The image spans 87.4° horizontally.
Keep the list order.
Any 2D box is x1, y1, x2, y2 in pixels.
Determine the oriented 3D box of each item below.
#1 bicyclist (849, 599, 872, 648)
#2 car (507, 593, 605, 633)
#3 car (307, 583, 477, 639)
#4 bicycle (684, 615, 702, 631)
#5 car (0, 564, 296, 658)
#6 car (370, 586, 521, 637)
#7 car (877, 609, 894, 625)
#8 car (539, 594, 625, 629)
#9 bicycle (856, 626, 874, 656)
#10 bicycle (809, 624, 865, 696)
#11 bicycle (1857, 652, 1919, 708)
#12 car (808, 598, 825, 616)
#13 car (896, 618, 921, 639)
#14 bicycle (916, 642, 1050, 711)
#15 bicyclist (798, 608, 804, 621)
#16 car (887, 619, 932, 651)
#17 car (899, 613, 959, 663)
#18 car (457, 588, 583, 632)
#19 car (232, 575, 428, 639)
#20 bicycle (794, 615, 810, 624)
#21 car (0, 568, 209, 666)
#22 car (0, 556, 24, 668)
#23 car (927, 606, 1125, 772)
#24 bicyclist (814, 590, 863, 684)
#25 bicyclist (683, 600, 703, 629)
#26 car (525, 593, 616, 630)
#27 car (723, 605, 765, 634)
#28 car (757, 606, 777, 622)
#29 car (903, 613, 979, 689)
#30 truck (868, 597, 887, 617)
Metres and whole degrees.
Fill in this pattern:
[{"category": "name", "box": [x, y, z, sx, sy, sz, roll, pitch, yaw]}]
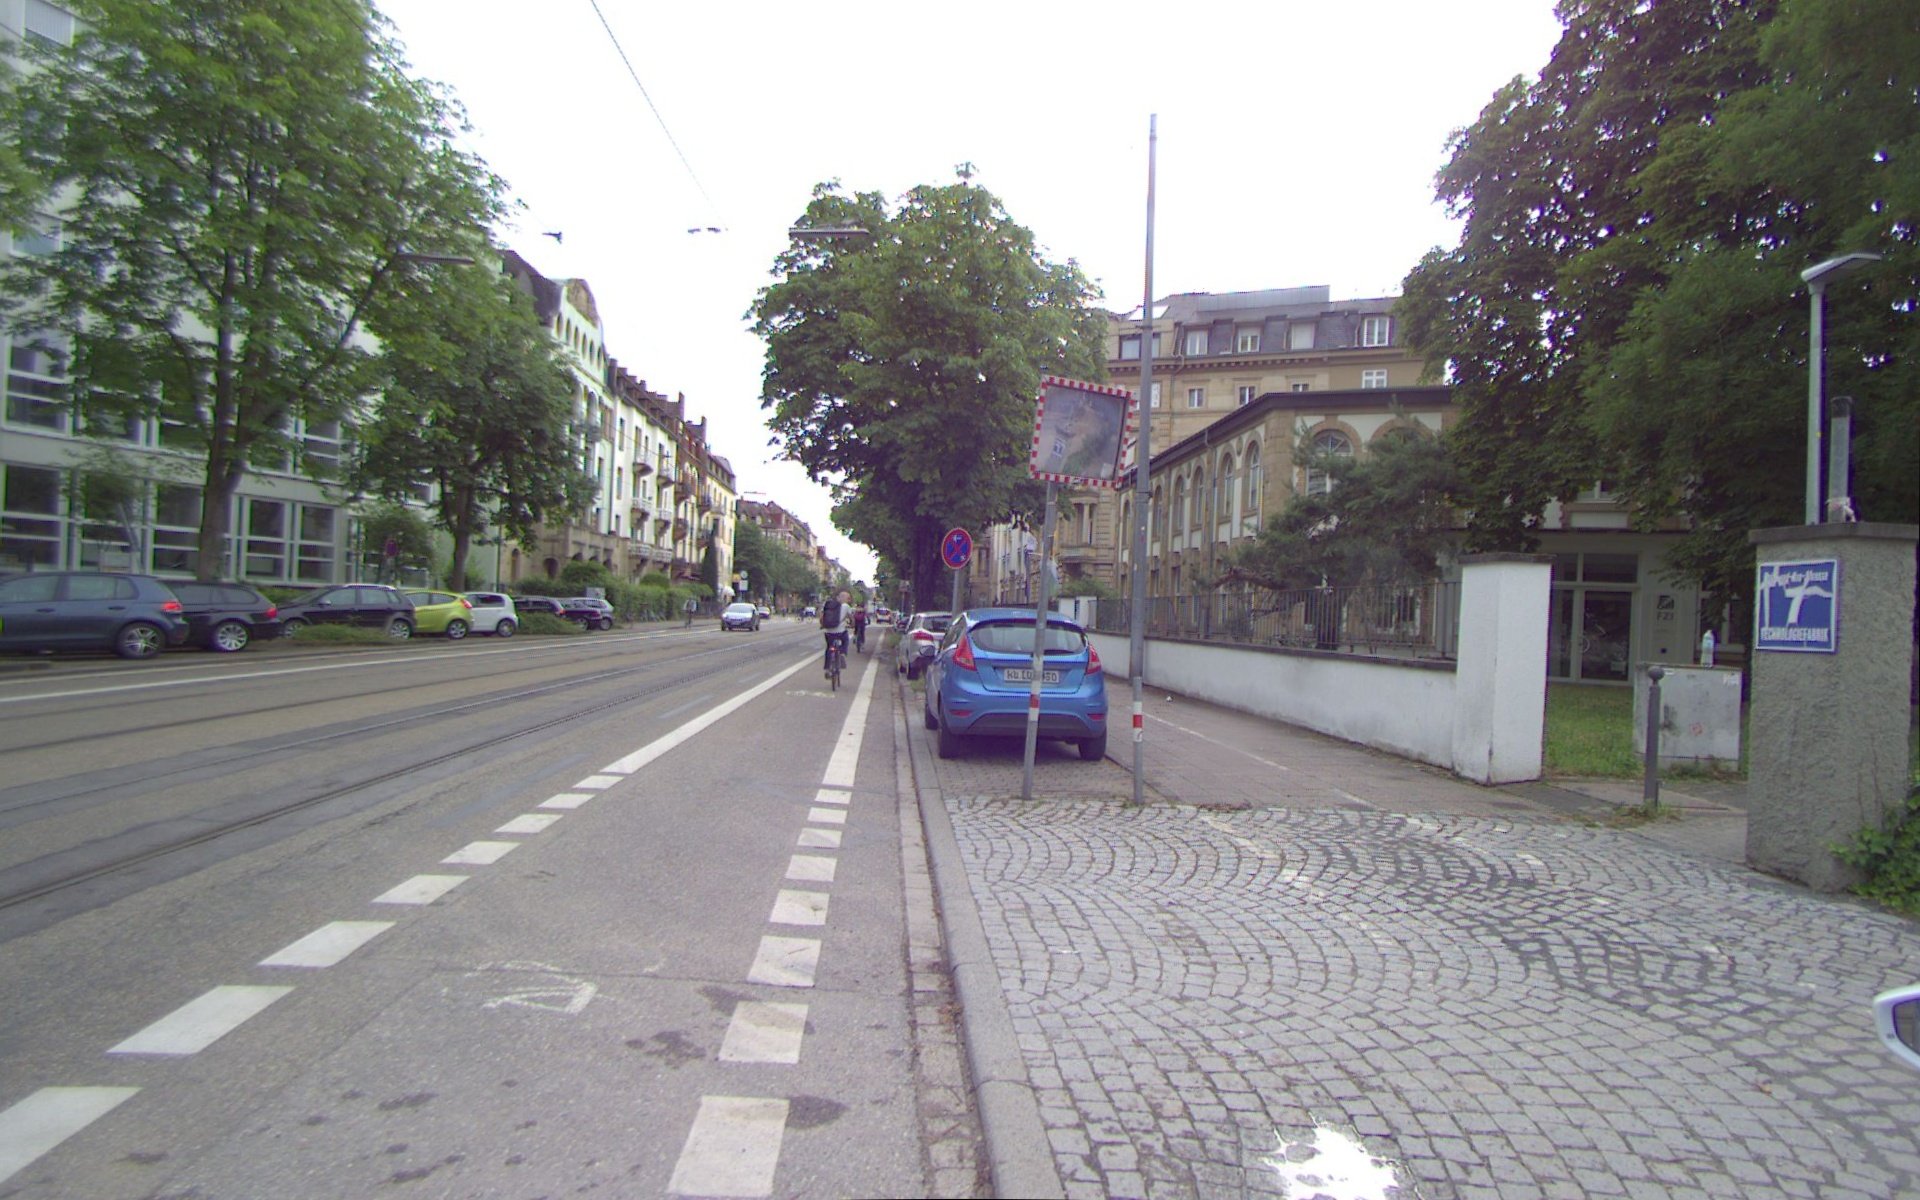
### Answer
[{"category": "bicyclist", "box": [-3.435, 0.816, 34.750, 0.647, 1.632, 0.919, 3, -1, -3]}, {"category": "car", "box": [-17.324, 0.558, 43.068, 3.674, 1.404, 1.687, 4, -1, -28]}, {"category": "car", "box": [-16.512, 0.341, 29.350, 1.674, 1.369, 3.950, 3, -1, 40]}, {"category": "bicycle", "box": [-14.639, 1.255, 55.118, 0.461, 0.880, 2.138, 2, -1, -3]}, {"category": "car", "box": [-15.760, 0.268, 19.611, 1.674, 1.555, 4.326, 3, -1, 40]}, {"category": "car", "box": [-16.521, 0.399, 32.397, 1.674, 1.369, 3.950, 3, -1, 40]}, {"category": "car", "box": [-9.138, 2.112, 123.887, 1.782, 1.730, 3.698, 3, -1, -1]}, {"category": "car", "box": [-18.390, 0.564, 48.876, 3.674, 1.404, 1.687, 4, -1, -28]}, {"category": "bicycle", "box": [-3.317, 1.418, 35.202, 0.482, 0.992, 2.057, 4, -2, -2]}, {"category": "bicycle", "box": [-2.150, 1.027, 17.785, 0.653, 1.131, 1.866, 4, -1, 1]}, {"category": "bicycle", "box": [21.098, 1.786, 22.797, 0.608, 1.134, 2.218, 2, -1, 29]}, {"category": "car", "box": [-19.993, 0.969, 139.963, 2.171, 2.449, 3.997, 2, -1, -6]}, {"category": "car", "box": [-3.689, 2.016, 71.755, 1.640, 1.417, 3.660, 2, -1, -2]}, {"category": "bicycle", "box": [0.351, 1.185, 15.565, 1.982, 0.969, 0.533, 2, 0, -8]}, {"category": "bicyclist", "box": [-14.560, 1.295, 92.112, 0.505, 1.184, 0.438, 2, -1, -11]}, {"category": "car", "box": [-2.220, 1.535, 45.016, 1.843, 1.268, 3.999, 2, -1, -2]}, {"category": "car", "box": [-0.981, 1.110, 30.218, 1.485, 1.320, 3.175, 2, 0, -7]}, {"category": "car", "box": [-16.394, 0.381, 37.588, 1.674, 1.369, 3.950, 3, -1, 40]}, {"category": "car", "box": [-16.257, 0.211, 26.062, 1.674, 1.369, 3.950, 3, -1, 40]}, {"category": "bicycle", "box": [-14.464, 1.807, 92.132, 1.425, 0.811, 0.434, 2, -1, -11]}, {"category": "car", "box": [-15.253, 0.259, 16.535, 1.674, 1.473, 4.326, 3, -1, 40]}, {"category": "car", "box": [-15.341, 0.031, 13.088, 1.673, 1.576, 4.331, 3, -1, 37]}, {"category": "car", "box": [0.550, 0.832, 10.869, 1.647, 1.480, 3.430, 1, -1, -4]}, {"category": "bicyclist", "box": [-2.146, 0.648, 17.856, 0.651, 1.590, 0.986, 3, -1, 0]}, {"category": "bicyclist", "box": [-14.605, 0.806, 54.940, 0.830, 1.520, 1.027, 2, -1, -3]}, {"category": "car", "box": [-17.843, 0.544, 46.015, 3.674, 1.404, 1.687, 4, -1, -28]}, {"category": "car", "box": [-11.575, 1.040, 54.107, 1.713, 1.448, 3.997, 2, -1, -6]}, {"category": "car", "box": [-27.538, 1.961, 143.445, 2.142, 2.236, 4.217, 2, -1, -3]}, {"category": "car", "box": [-0.505, 1.085, 22.852, 1.452, 1.500, 3.563, 3, -1, -4]}, {"category": "truck", "box": [-18.567, 1.614, 225.237, 3.749, 4.083, 10.206, 2, -1, -7]}]
